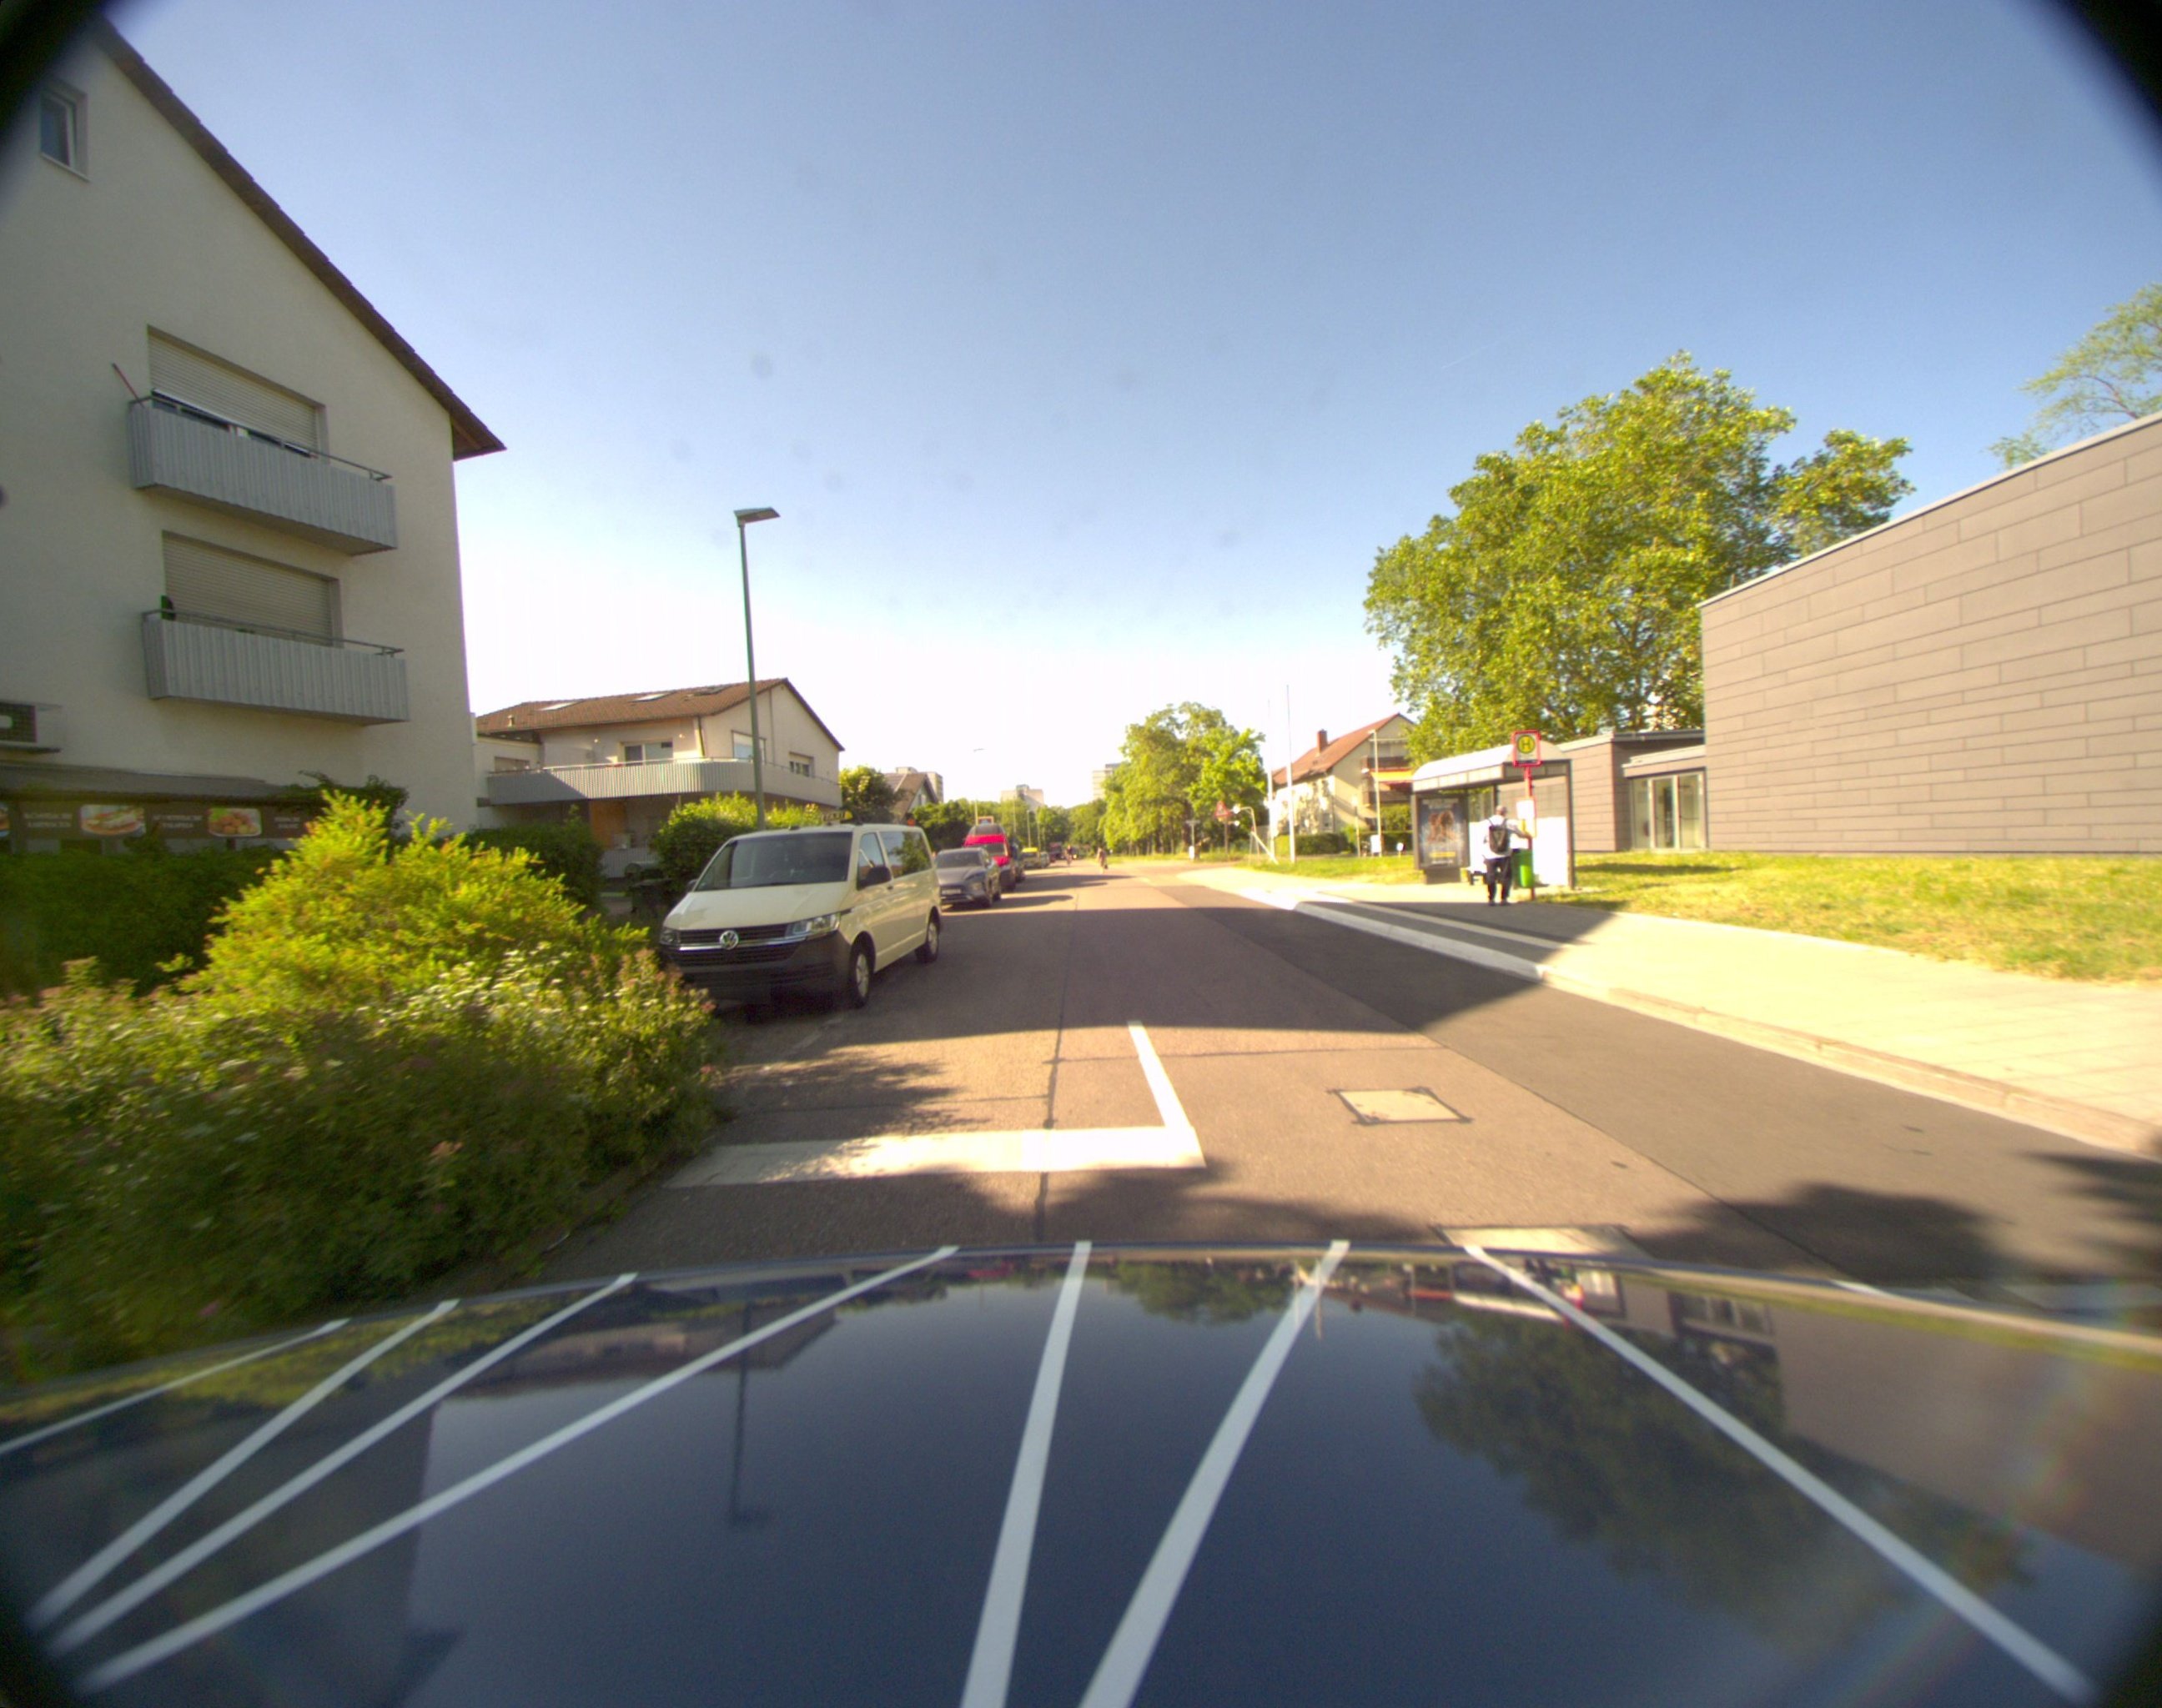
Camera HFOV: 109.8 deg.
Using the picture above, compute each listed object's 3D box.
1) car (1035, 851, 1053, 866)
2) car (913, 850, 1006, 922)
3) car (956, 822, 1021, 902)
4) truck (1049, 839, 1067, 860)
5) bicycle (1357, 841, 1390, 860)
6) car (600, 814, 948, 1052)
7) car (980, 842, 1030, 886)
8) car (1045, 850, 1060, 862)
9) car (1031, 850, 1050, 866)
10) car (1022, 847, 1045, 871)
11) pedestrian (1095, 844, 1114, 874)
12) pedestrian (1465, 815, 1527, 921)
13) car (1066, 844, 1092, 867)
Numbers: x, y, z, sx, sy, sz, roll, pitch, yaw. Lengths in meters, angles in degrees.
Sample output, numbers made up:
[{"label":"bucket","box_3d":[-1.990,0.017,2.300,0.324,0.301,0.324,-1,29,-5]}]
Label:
[{"label":"car","box_3d":[-4.467,0.524,91.601,1.999,1.587,4.577,-3,0,-1]},{"label":"car","box_3d":[-3.381,0.818,22.006,1.962,1.728,4.575,-3,1,-1]},{"label":"car","box_3d":[-3.408,0.253,28.951,1.962,2.629,5.221,-4,1,-3]},{"label":"truck","box_3d":[-5.156,-1.091,173.127,3.602,4.544,10.022,-3,1,0]},{"label":"bicycle","box_3d":[16.408,-0.207,42.635,1.598,0.979,0.500,-3,-1,15]},{"label":"car","box_3d":[-3.177,0.665,9.154,1.998,2.067,4.577,-3,1,3]},{"label":"car","box_3d":[-3.524,0.417,36.037,1.862,1.837,4.559,-5,1,-1]},{"label":"car","box_3d":[-4.459,0.284,118.441,1.998,1.587,4.577,-3,1,2]},{"label":"car","box_3d":[-3.967,0.377,74.271,1.621,1.478,3.980,-3,1,-1]},{"label":"car","box_3d":[-3.881,0.381,62.635,1.621,1.766,3.980,-3,1,-1]},{"label":"pedestrian","box_3d":[1.251,0.253,40.683,0.834,1.578,0.632,2,4,18]},{"label":"pedestrian","box_3d":[7.334,0.244,13.412,0.716,1.792,0.772,-4,1,40]},{"label":"car","box_3d":[-0.230,0.102,69.188,1.966,1.908,4.575,-3,1,-4]}]
